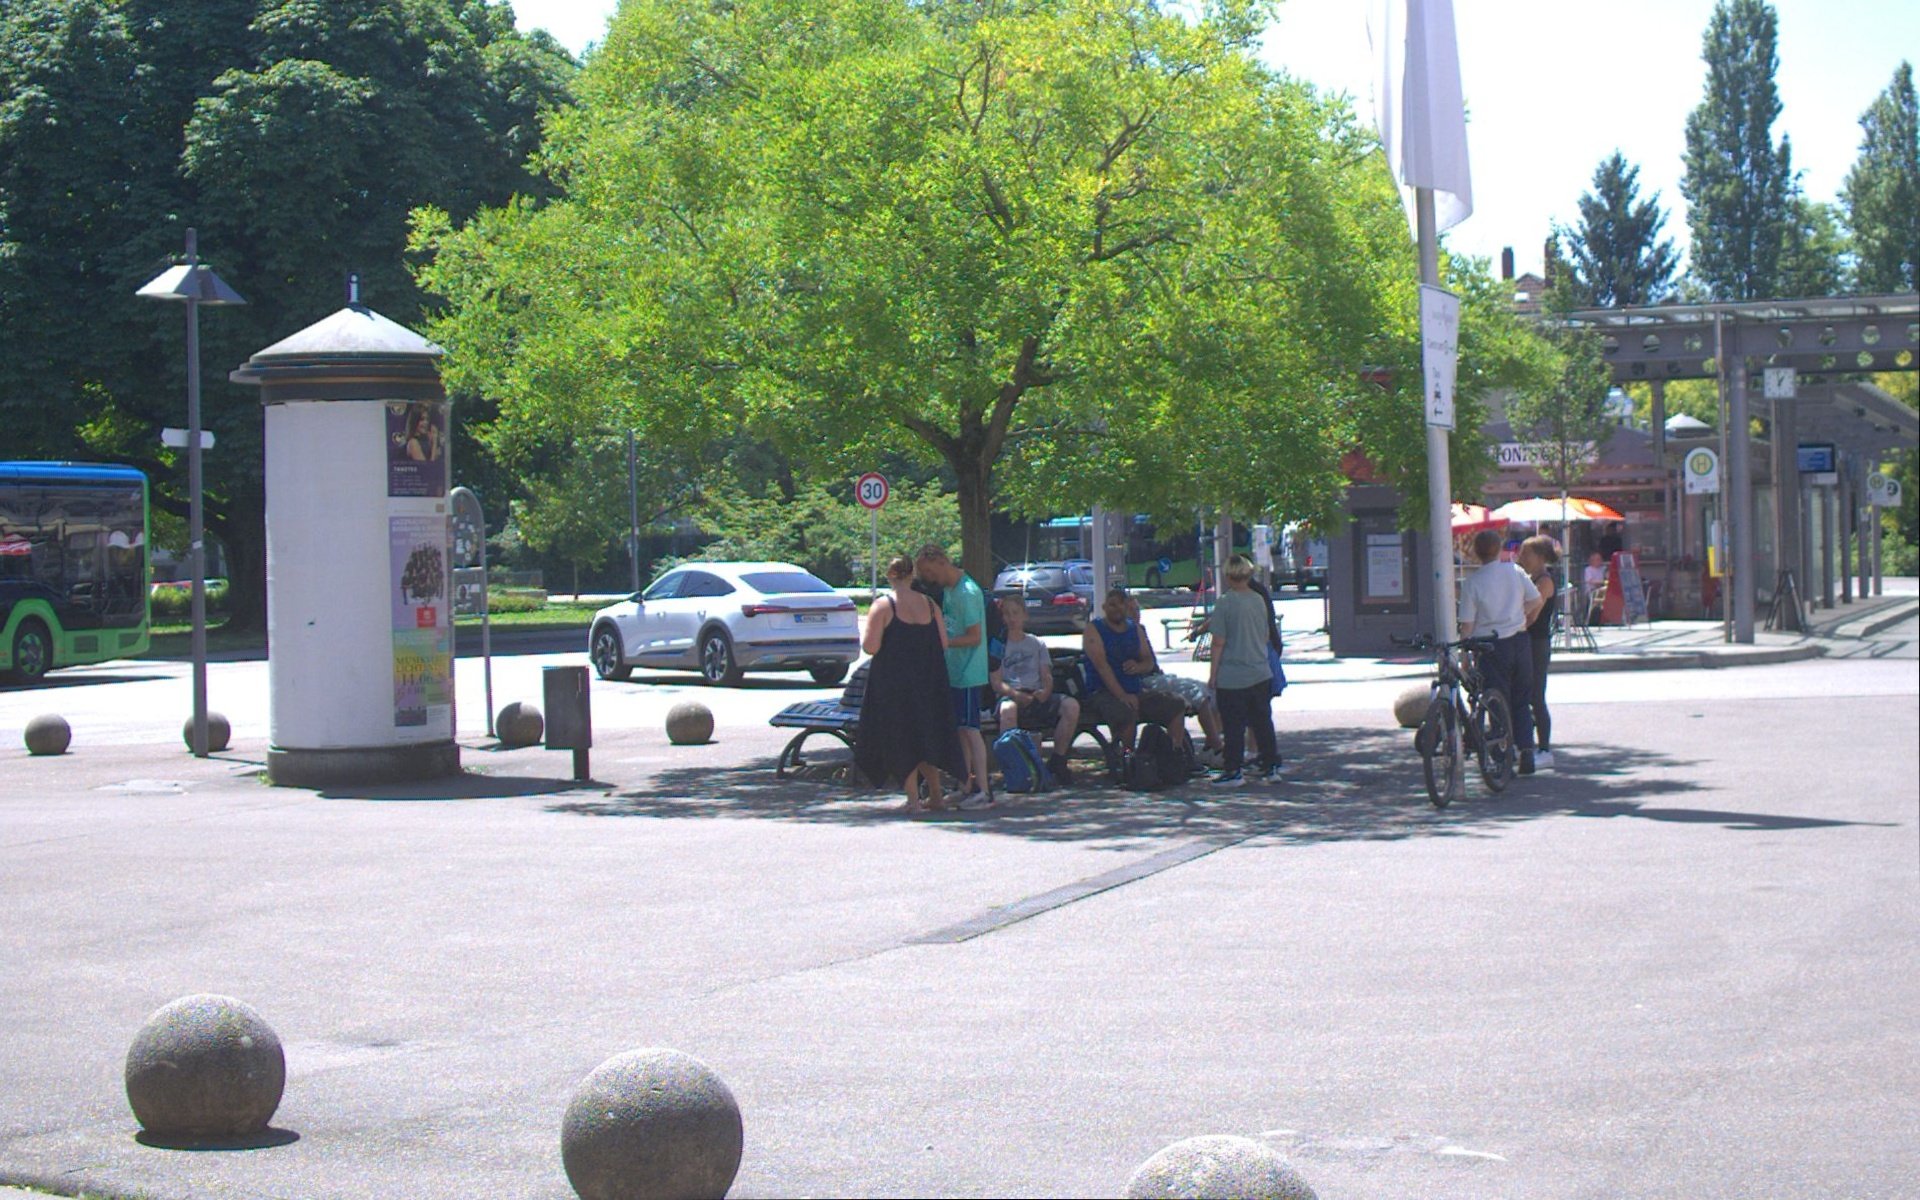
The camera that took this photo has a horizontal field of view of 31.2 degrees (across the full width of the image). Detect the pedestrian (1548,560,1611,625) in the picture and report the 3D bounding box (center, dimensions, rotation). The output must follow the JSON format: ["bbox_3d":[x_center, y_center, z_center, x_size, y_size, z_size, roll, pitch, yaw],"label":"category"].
[{"bbox_3d":[11.219,-0.142,62.292,0.892,1.157,0.689,-1,1,-16],"label":"pedestrian"}]

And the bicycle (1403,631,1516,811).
[{"bbox_3d":[3.189,0.747,21.861,0.420,1.056,1.947,-1,0,17],"label":"bicycle"}]

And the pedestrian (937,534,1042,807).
[{"bbox_3d":[0.187,0.446,22.269,0.583,1.734,0.600,-1,0,-7],"label":"pedestrian"}]

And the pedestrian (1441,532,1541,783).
[{"bbox_3d":[3.606,0.382,23.376,0.617,1.679,0.591,-1,0,6],"label":"pedestrian"}]

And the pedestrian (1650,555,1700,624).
[{"bbox_3d":[12.784,-0.189,61.451,0.759,1.201,0.736,1,1,19],"label":"pedestrian"}]

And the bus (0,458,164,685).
[{"bbox_3d":[-15.717,-0.361,48.153,2.811,3.271,12.414,-1,1,18],"label":"bus"}]

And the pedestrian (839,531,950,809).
[{"bbox_3d":[-0.422,0.435,21.898,0.625,1.734,0.548,-1,0,-7],"label":"pedestrian"}]

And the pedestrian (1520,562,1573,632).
[{"bbox_3d":[9.981,-0.056,58.467,0.687,1.157,0.894,-1,1,23],"label":"pedestrian"}]

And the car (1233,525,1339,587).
[{"bbox_3d":[11.758,-1.594,124.421,2.202,2.165,4.883,-1,1,-15],"label":"car"}]

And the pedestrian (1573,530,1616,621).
[{"bbox_3d":[12.109,-0.466,65.631,0.687,1.732,0.706,-1,0,19],"label":"pedestrian"}]

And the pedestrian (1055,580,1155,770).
[{"bbox_3d":[1.060,0.544,25.264,0.597,1.360,0.600,-1,1,-10],"label":"pedestrian"}]

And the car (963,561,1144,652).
[{"bbox_3d":[1.734,0.094,61.787,1.928,1.455,4.721,-4,0,18],"label":"car"}]

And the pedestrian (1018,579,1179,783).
[{"bbox_3d":[0.957,0.551,24.043,0.909,1.381,0.944,-1,1,-11],"label":"pedestrian"}]

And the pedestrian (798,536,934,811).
[{"bbox_3d":[-0.622,0.470,22.557,0.583,1.758,0.693,-1,1,-33],"label":"pedestrian"}]

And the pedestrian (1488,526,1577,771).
[{"bbox_3d":[3.987,0.331,23.977,0.553,1.679,0.587,-1,0,6],"label":"pedestrian"}]

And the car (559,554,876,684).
[{"bbox_3d":[-3.342,0.241,46.538,1.983,1.621,4.777,-2,1,-36],"label":"car"}]

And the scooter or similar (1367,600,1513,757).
[{"bbox_3d":[3.523,0.576,25.221,1.025,1.135,0.294,-1,0,11],"label":"scooter or similar"}]

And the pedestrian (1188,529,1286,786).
[{"bbox_3d":[1.894,0.385,23.557,0.510,1.734,0.571,-1,0,-11],"label":"pedestrian"}]

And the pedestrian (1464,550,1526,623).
[{"bbox_3d":[9.773,-0.253,62.835,0.892,1.308,0.689,-1,1,-16],"label":"pedestrian"}]
